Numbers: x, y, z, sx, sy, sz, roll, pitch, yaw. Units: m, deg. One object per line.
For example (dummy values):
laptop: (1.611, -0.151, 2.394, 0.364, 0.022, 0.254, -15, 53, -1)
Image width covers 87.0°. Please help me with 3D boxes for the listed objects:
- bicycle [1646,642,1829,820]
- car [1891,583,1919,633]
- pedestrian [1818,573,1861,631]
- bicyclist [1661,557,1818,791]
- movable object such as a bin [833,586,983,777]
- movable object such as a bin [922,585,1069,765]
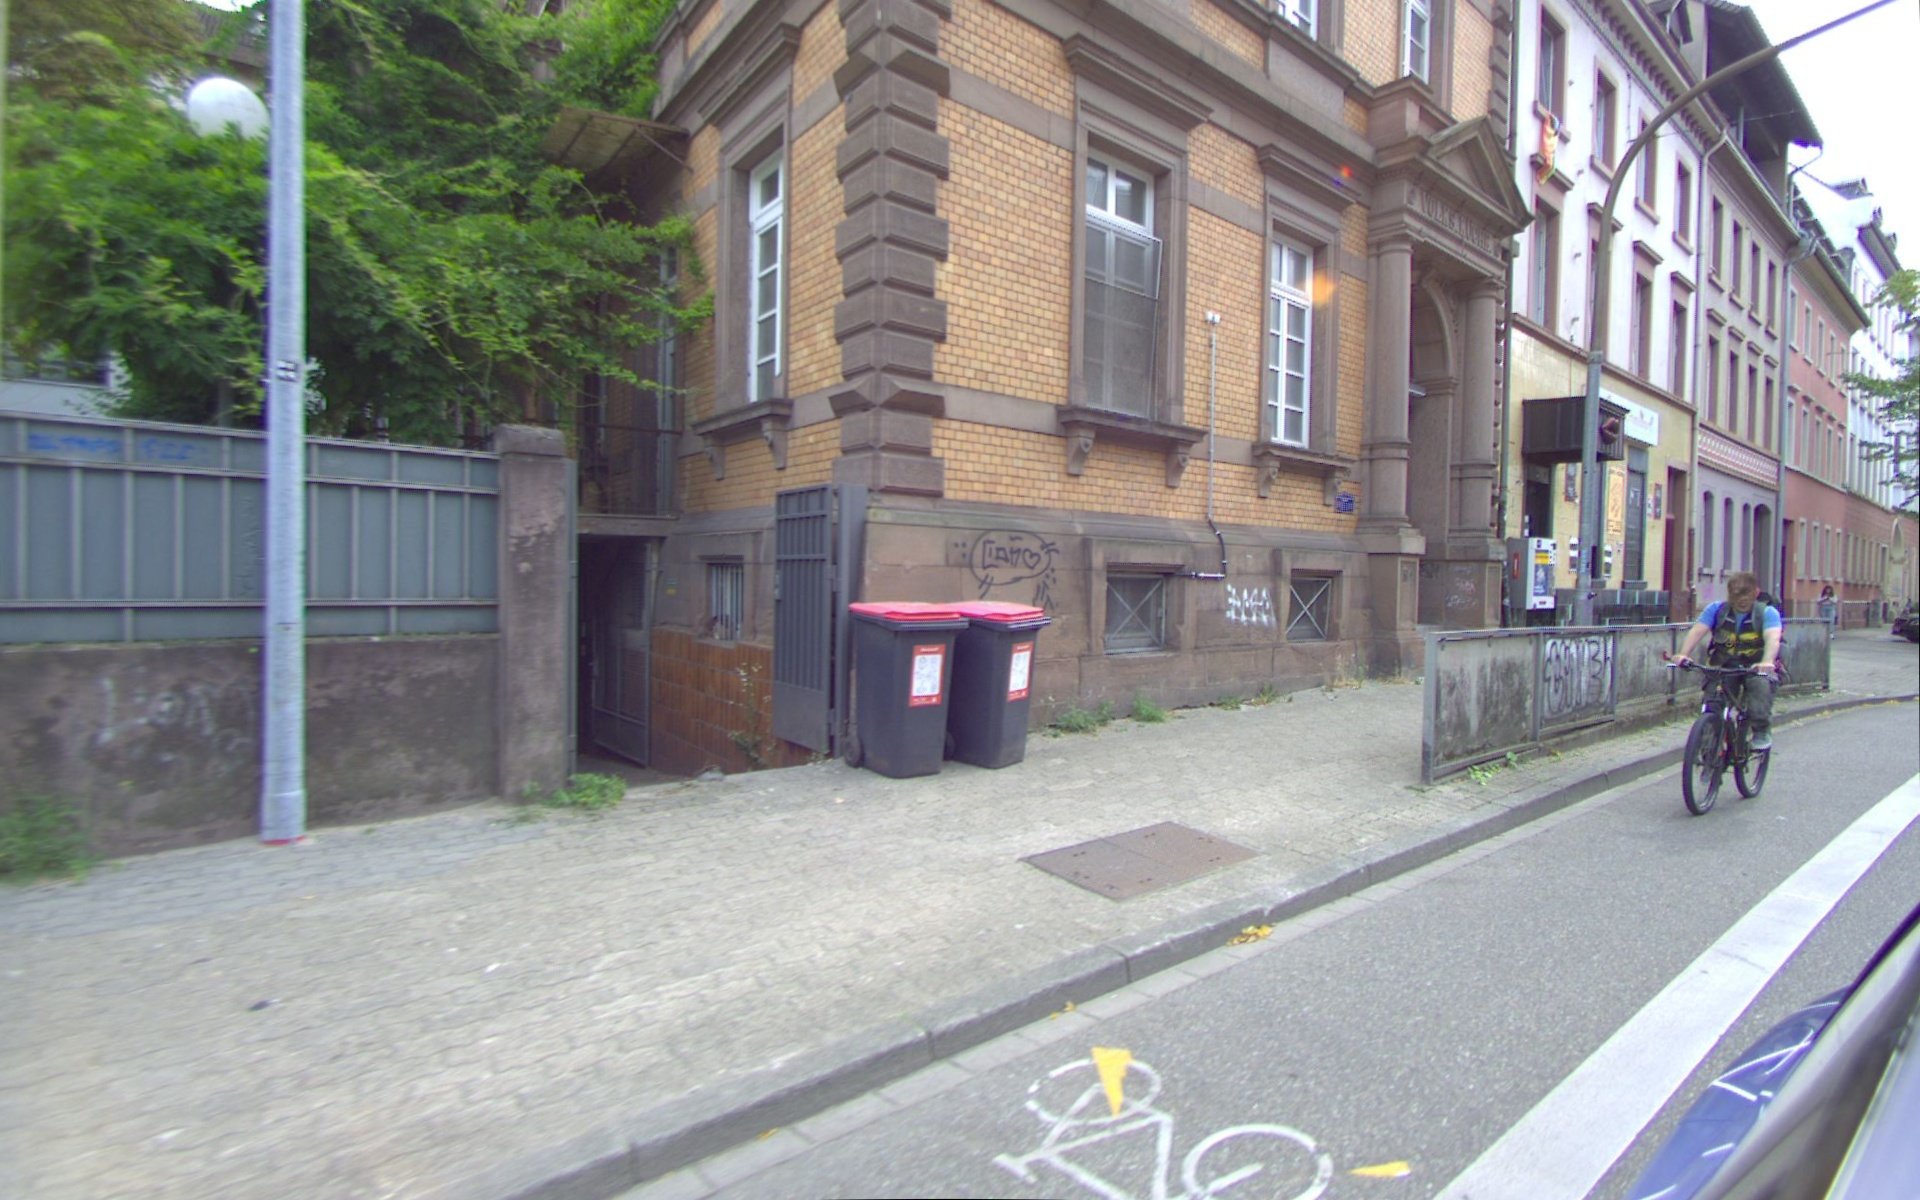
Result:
bicycle: (5.593, 0.863, 7.241, 1.769, 1.031, 0.714, 0, 0, -41)
car: (31.172, 0.348, 30.213, 4.584, 1.491, 1.773, 3, 2, 27)
pedestrian: (27.091, 0.039, 31.181, 0.910, 1.708, 0.732, 0, 5, -40)
bicyclist: (5.541, 0.484, 7.195, 0.902, 1.526, 0.715, 0, -1, -41)
movable object such as a bin: (-0.341, 0.483, 6.538, 0.666, 1.095, 0.652, -1, 6, -44)
movable object such as a bin: (0.241, 0.477, 6.935, 0.689, 1.095, 0.664, -1, 6, -43)
